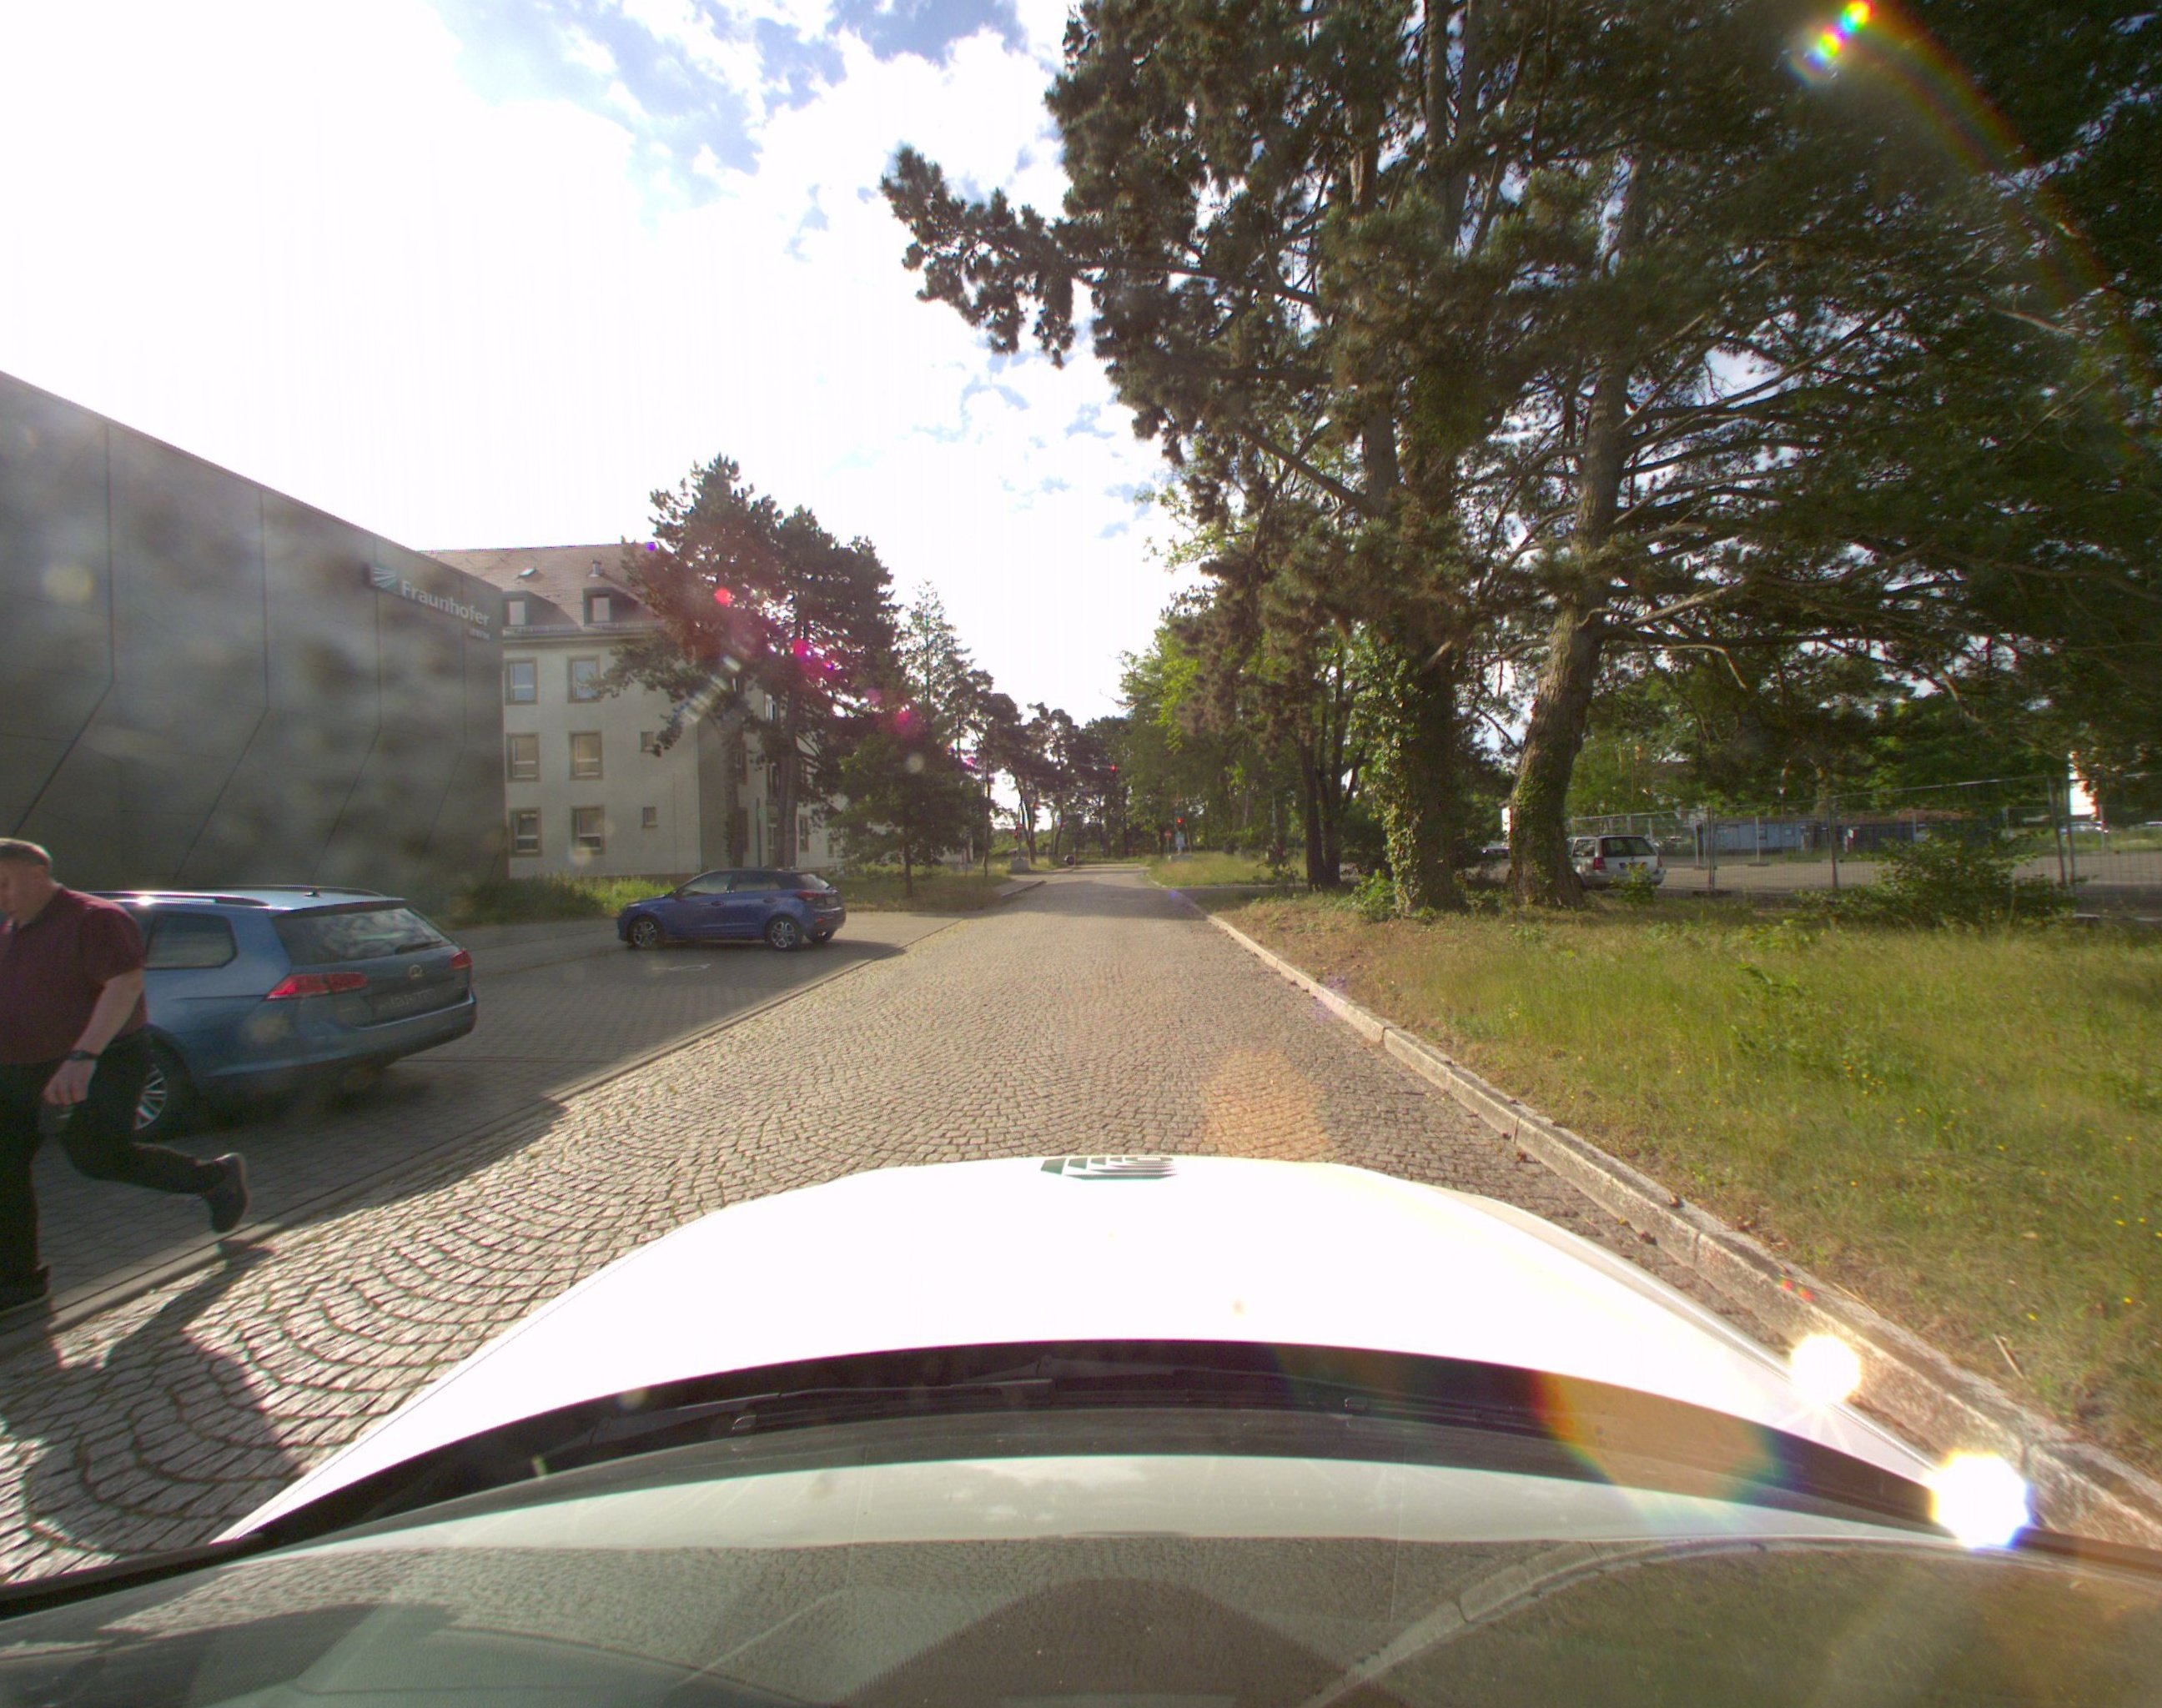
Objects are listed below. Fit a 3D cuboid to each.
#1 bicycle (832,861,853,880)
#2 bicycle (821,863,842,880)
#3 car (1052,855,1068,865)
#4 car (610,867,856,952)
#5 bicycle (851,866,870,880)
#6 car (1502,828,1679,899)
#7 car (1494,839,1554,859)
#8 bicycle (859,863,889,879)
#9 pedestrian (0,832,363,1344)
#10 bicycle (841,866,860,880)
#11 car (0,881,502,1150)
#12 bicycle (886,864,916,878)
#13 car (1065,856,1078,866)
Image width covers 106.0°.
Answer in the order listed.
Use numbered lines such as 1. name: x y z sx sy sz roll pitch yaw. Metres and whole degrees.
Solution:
1. bicycle: -19.258 1.297 65.732 0.823 1.437 2.555 -2 0 2
2. bicycle: -20.038 1.396 65.449 0.823 1.281 2.555 -2 0 2
3. car: -3.201 0.935 126.139 1.772 1.490 3.765 -2 0 9
4. car: -6.382 0.999 15.202 3.819 1.464 1.721 0 0 3
5. bicycle: -17.694 1.490 65.394 0.823 1.047 2.125 -2 0 2
6. car: 12.011 0.209 19.540 1.663 1.467 3.998 -2 0 -1
7. car: 31.264 -0.318 57.615 1.726 1.312 4.329 -2 0 -1
8. bicycle: -16.294 1.343 64.109 2.111 1.108 0.828 -2 0 -2
9. pedestrian: -3.933 0.824 3.404 0.802 1.771 1.152 -2 0 -2
10. bicycle: -18.476 1.497 65.370 0.823 1.047 2.125 -2 0 2
11. car: -6.724 0.976 5.580 4.243 1.464 1.680 0 1 -1
12. bicycle: -14.171 1.320 64.152 2.111 1.047 0.828 -2 0 -2
13. car: -1.363 1.014 121.323 1.839 1.486 3.999 -2 0 0
